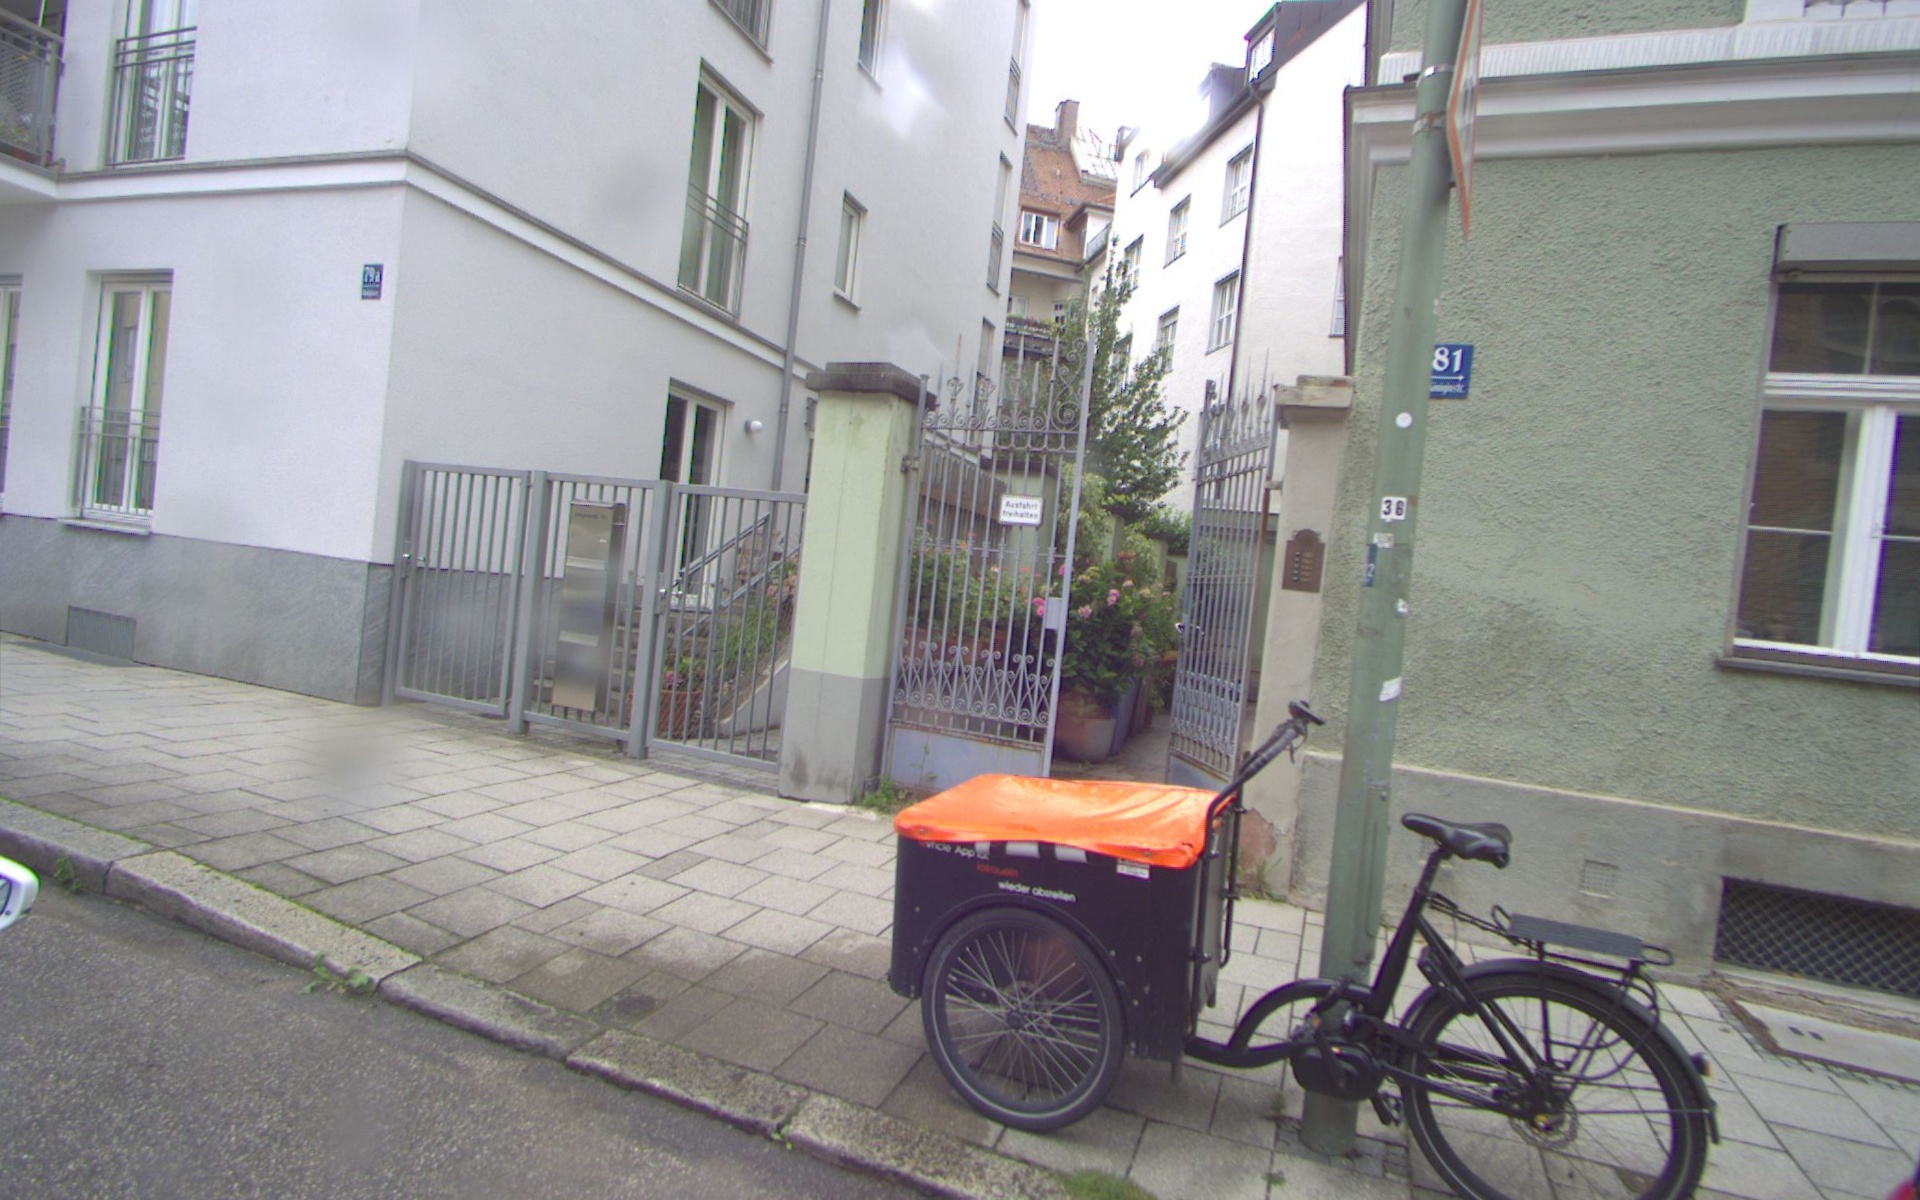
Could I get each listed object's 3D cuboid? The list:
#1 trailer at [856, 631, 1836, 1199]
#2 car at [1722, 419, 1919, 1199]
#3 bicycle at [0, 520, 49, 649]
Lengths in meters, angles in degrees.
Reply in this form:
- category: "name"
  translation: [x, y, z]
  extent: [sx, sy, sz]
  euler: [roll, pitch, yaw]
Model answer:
- category: "trailer"
  translation: [0.897, 0.826, 2.880]
  extent: [2.126, 1.200, 0.942]
  euler: [7, 4, 26]
- category: "car"
  translation: [3.238, 0.887, 0.200]
  extent: [4.507, 1.918, 1.860]
  euler: [7, -1, 22]
- category: "bicycle"
  translation: [-8.622, -0.199, 8.411]
  extent: [1.800, 1.041, 0.679]
  euler: [5, 1, 20]
